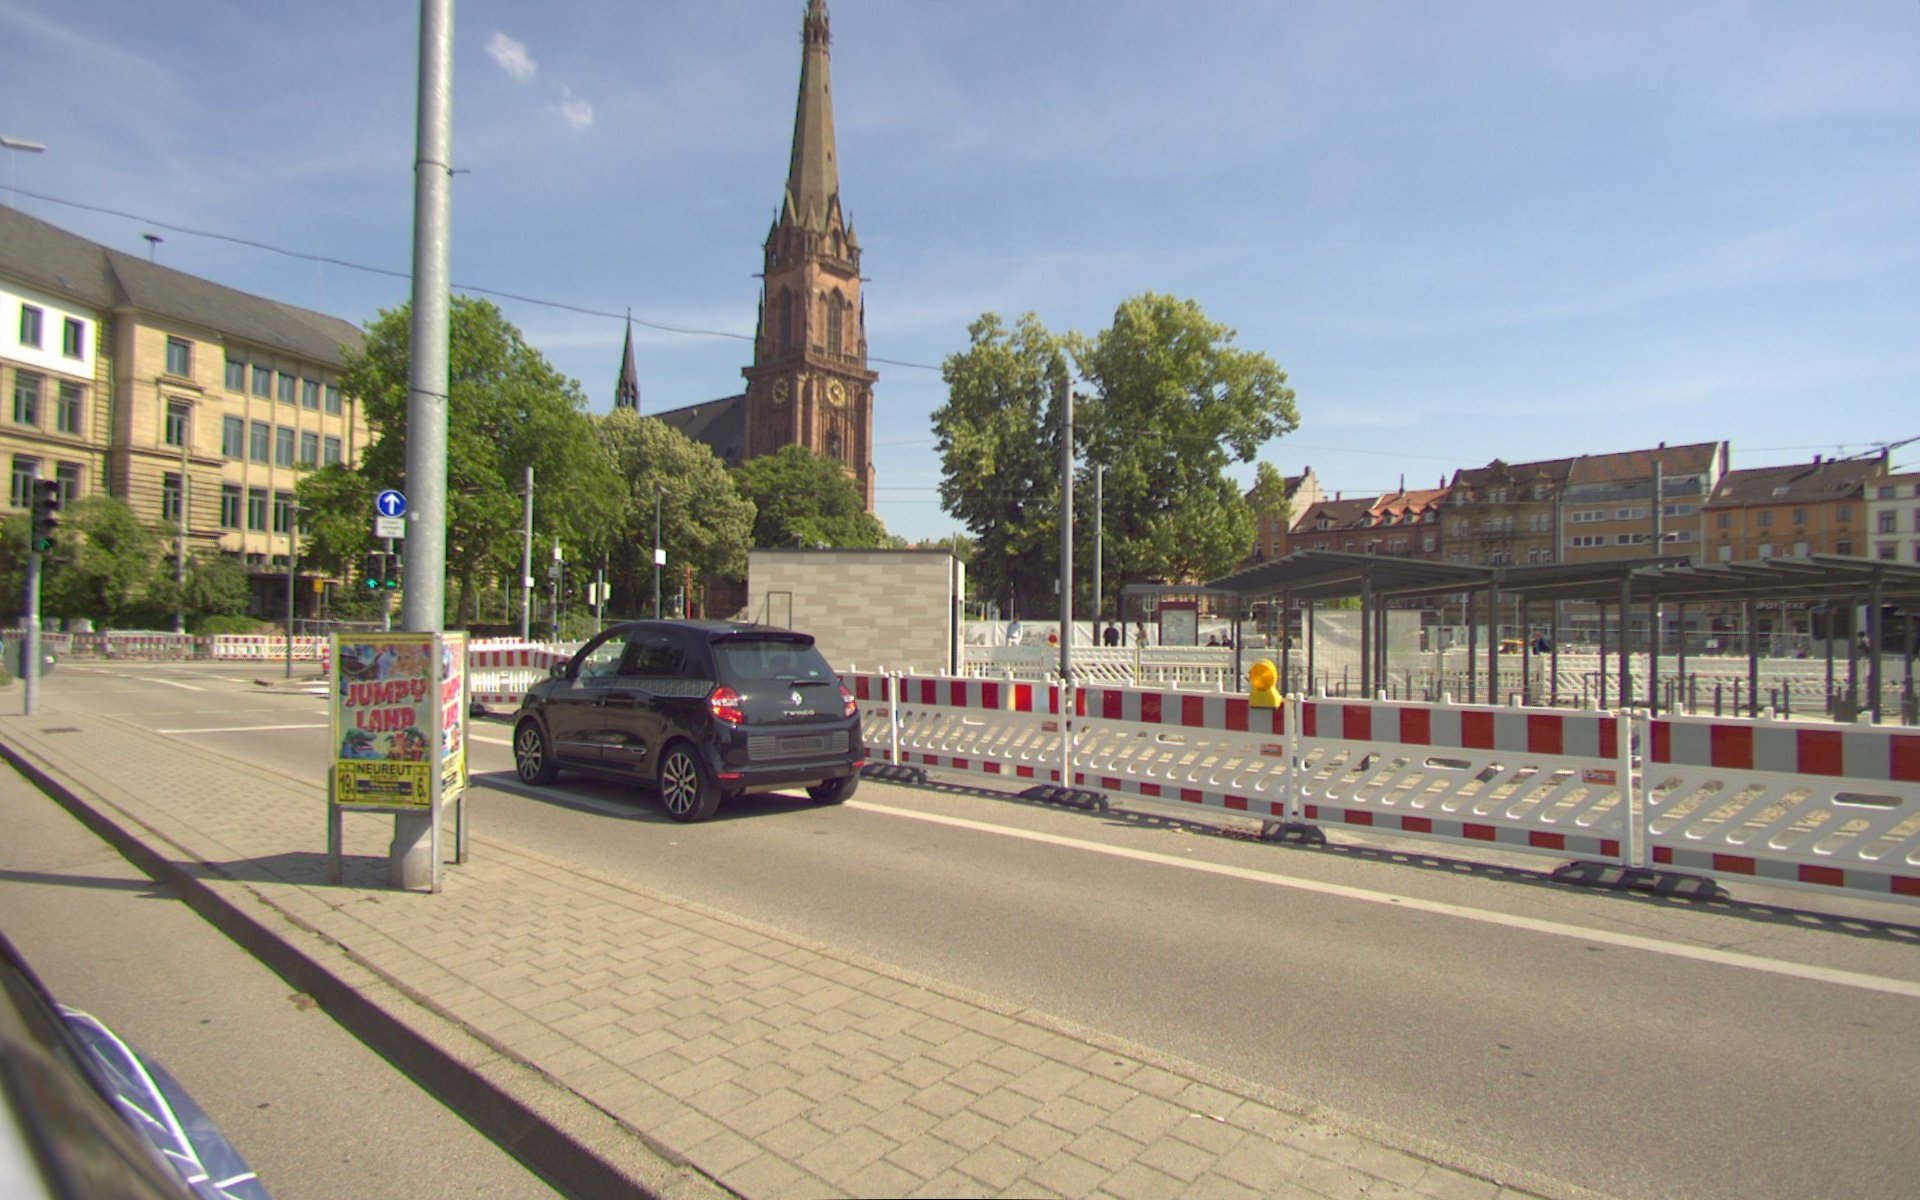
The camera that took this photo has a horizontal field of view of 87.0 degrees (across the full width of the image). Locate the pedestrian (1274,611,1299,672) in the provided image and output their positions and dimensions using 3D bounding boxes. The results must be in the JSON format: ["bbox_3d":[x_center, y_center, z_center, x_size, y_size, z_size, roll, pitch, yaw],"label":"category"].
[{"bbox_3d":[11.084,1.405,34.381,0.679,2.029,0.818,0,-2,11],"label":"pedestrian"}]

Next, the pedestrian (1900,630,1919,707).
[{"bbox_3d":[20.281,1.439,21.191,0.607,1.594,0.573,1,-2,5],"label":"pedestrian"}]

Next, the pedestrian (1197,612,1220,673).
[{"bbox_3d":[8.356,1.421,34.051,0.679,2.029,0.818,0,-2,11],"label":"pedestrian"}]

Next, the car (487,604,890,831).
[{"bbox_3d":[-2.498,0.886,8.927,3.630,1.586,1.644,-1,-3,41],"label":"car"}]

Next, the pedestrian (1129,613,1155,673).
[{"bbox_3d":[6.212,1.464,34.596,0.810,2.029,0.685,1,-2,6],"label":"pedestrian"}]

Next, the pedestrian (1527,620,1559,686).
[{"bbox_3d":[18.328,1.668,31.819,0.680,2.029,0.816,0,-2,16],"label":"pedestrian"}]

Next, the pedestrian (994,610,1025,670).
[{"bbox_3d":[1.704,1.367,34.559,0.686,2.029,0.809,-1,-3,43],"label":"pedestrian"}]

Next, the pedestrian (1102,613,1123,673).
[{"bbox_3d":[5.238,1.476,34.824,0.678,2.029,0.819,0,-2,7],"label":"pedestrian"}]

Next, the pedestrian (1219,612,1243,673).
[{"bbox_3d":[9.077,1.424,33.908,0.679,2.029,0.818,0,-2,11],"label":"pedestrian"}]
